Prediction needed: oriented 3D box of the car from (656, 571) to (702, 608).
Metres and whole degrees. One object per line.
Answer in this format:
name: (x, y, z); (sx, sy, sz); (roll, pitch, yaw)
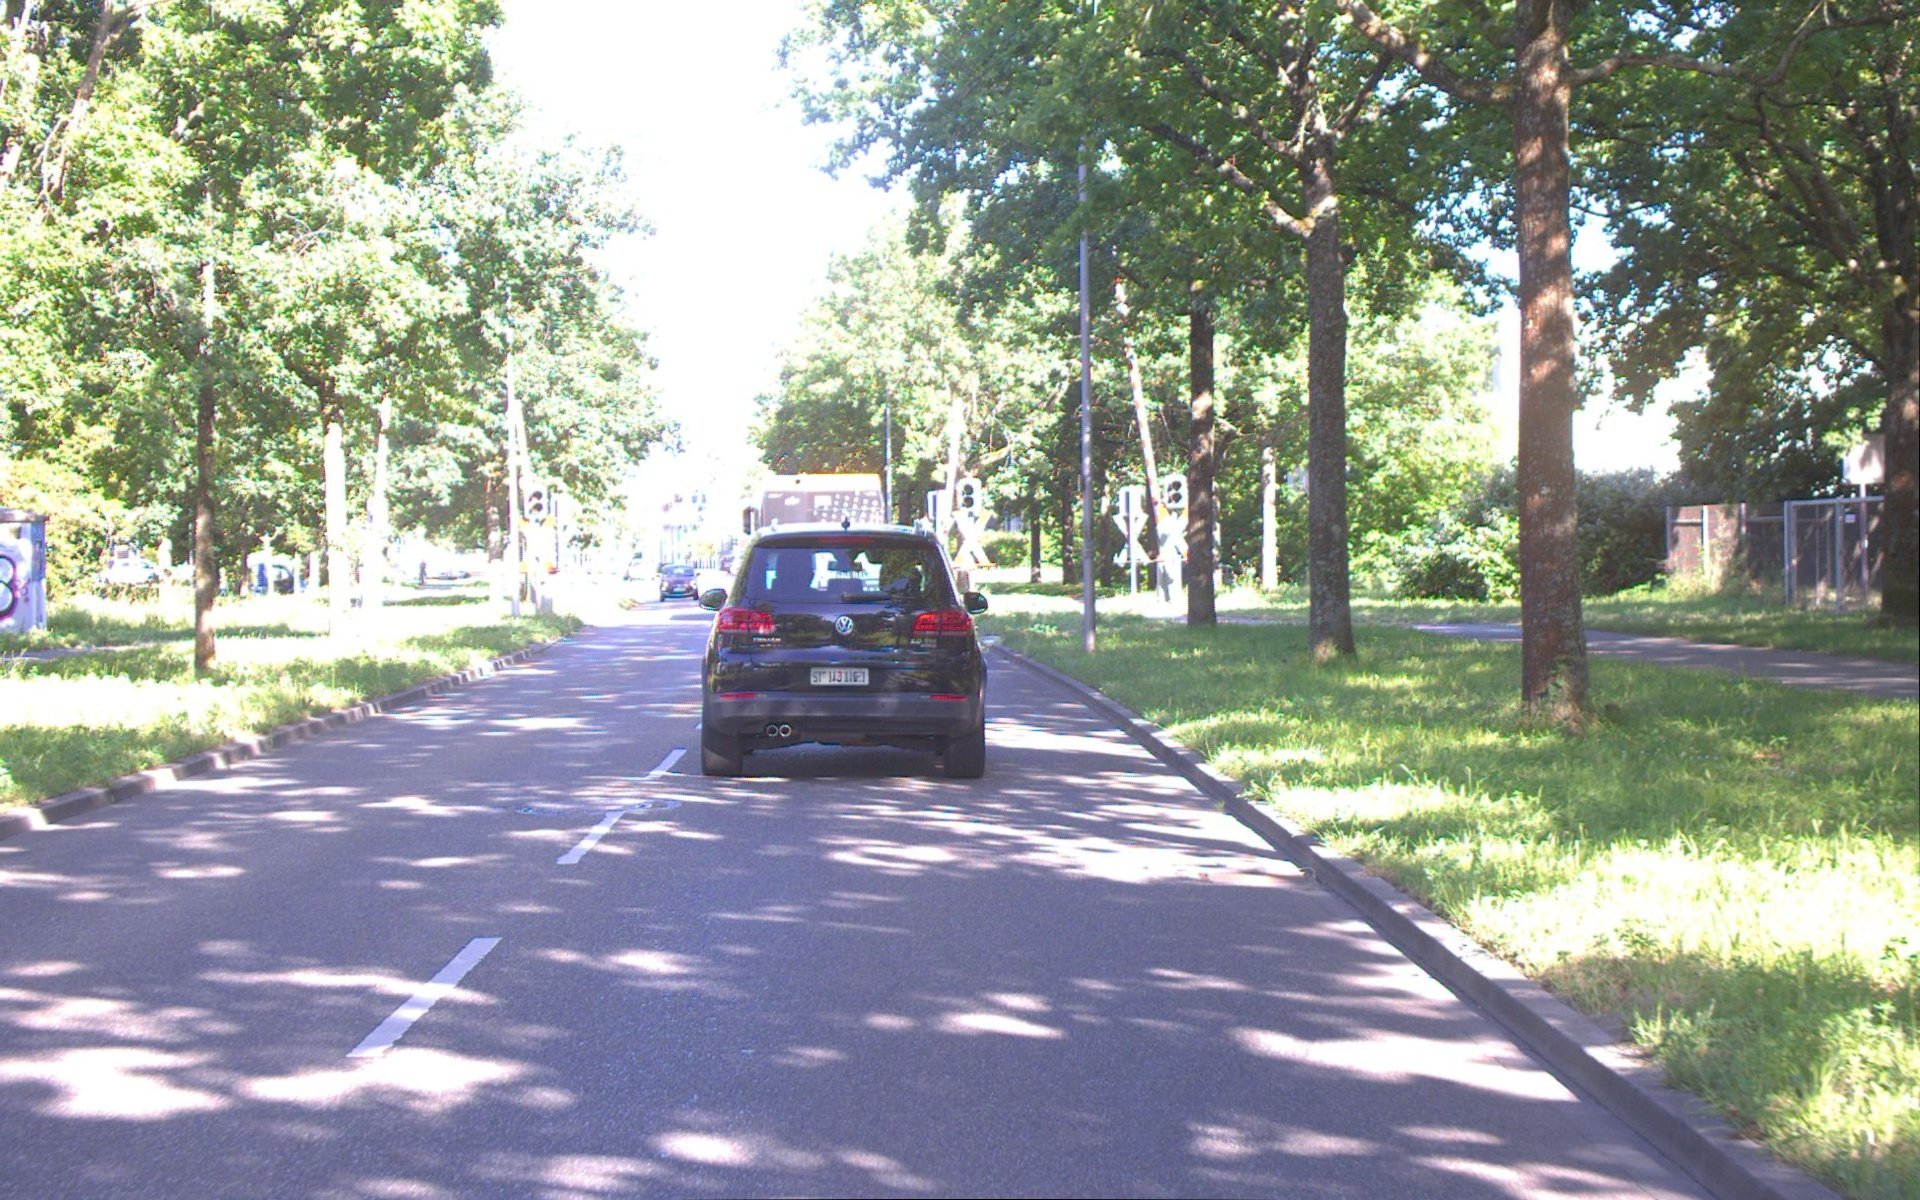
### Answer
car: (-11.691, -0.450, 143.389); (1.565, 1.499, 4.000); (1, 1, 0)

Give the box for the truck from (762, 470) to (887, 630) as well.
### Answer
truck: (-2.933, -1.080, 74.409); (2.512, 3.232, 8.153); (-1, 1, -2)

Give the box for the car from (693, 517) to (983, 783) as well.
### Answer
car: (-0.829, 0.288, 23.414); (1.782, 1.628, 4.000); (1, 1, -2)
